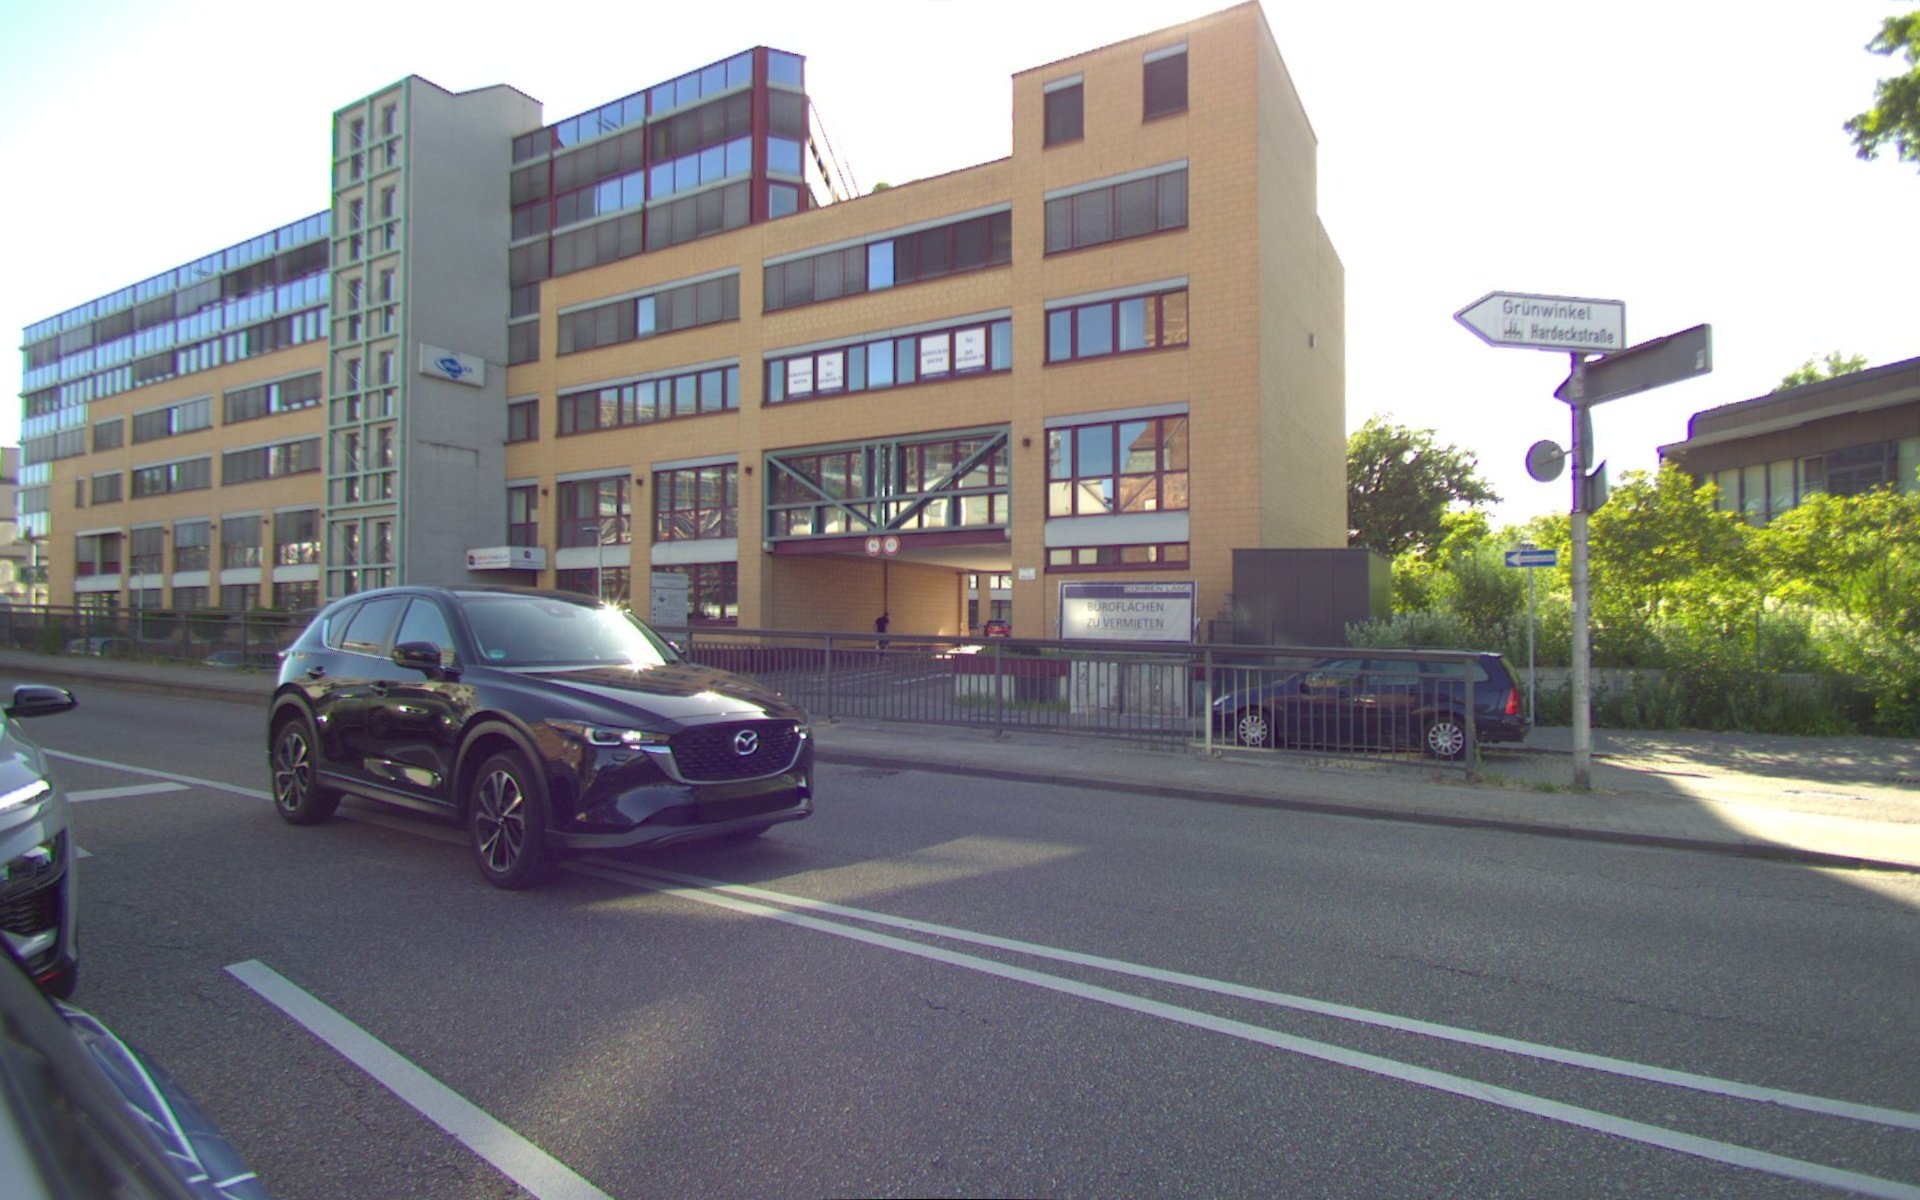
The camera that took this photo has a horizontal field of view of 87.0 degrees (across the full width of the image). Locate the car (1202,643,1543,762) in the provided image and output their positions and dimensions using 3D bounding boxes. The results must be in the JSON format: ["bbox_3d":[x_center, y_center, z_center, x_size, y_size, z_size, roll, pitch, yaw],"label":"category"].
[{"bbox_3d":[5.939,1.452,14.816,4.366,1.520,1.640,-3,-5,34],"label":"car"}]

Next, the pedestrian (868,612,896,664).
[{"bbox_3d":[-2.856,1.390,37.036,0.703,1.865,0.738,-2,-1,35],"label":"pedestrian"}]

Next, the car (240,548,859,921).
[{"bbox_3d":[-2.848,0.697,6.677,4.188,1.722,1.857,-2,-3,36],"label":"car"}]

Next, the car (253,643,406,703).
[{"bbox_3d":[-17.628,1.992,28.295,4.143,1.535,1.862,-2,-3,29],"label":"car"}]

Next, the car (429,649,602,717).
[{"bbox_3d":[-10.908,1.975,24.805,4.139,1.535,1.624,-2,-2,27],"label":"car"}]

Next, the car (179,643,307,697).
[{"bbox_3d":[-22.454,2.137,31.670,3.986,1.576,1.865,-2,-3,32],"label":"car"}]

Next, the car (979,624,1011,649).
[{"bbox_3d":[2.298,2.392,67.409,1.742,1.532,4.003,-1,0,-3],"label":"car"}]

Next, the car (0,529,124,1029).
[{"bbox_3d":[-5.108,0.616,4.264,4.196,1.634,1.854,-2,-3,42],"label":"car"}]
